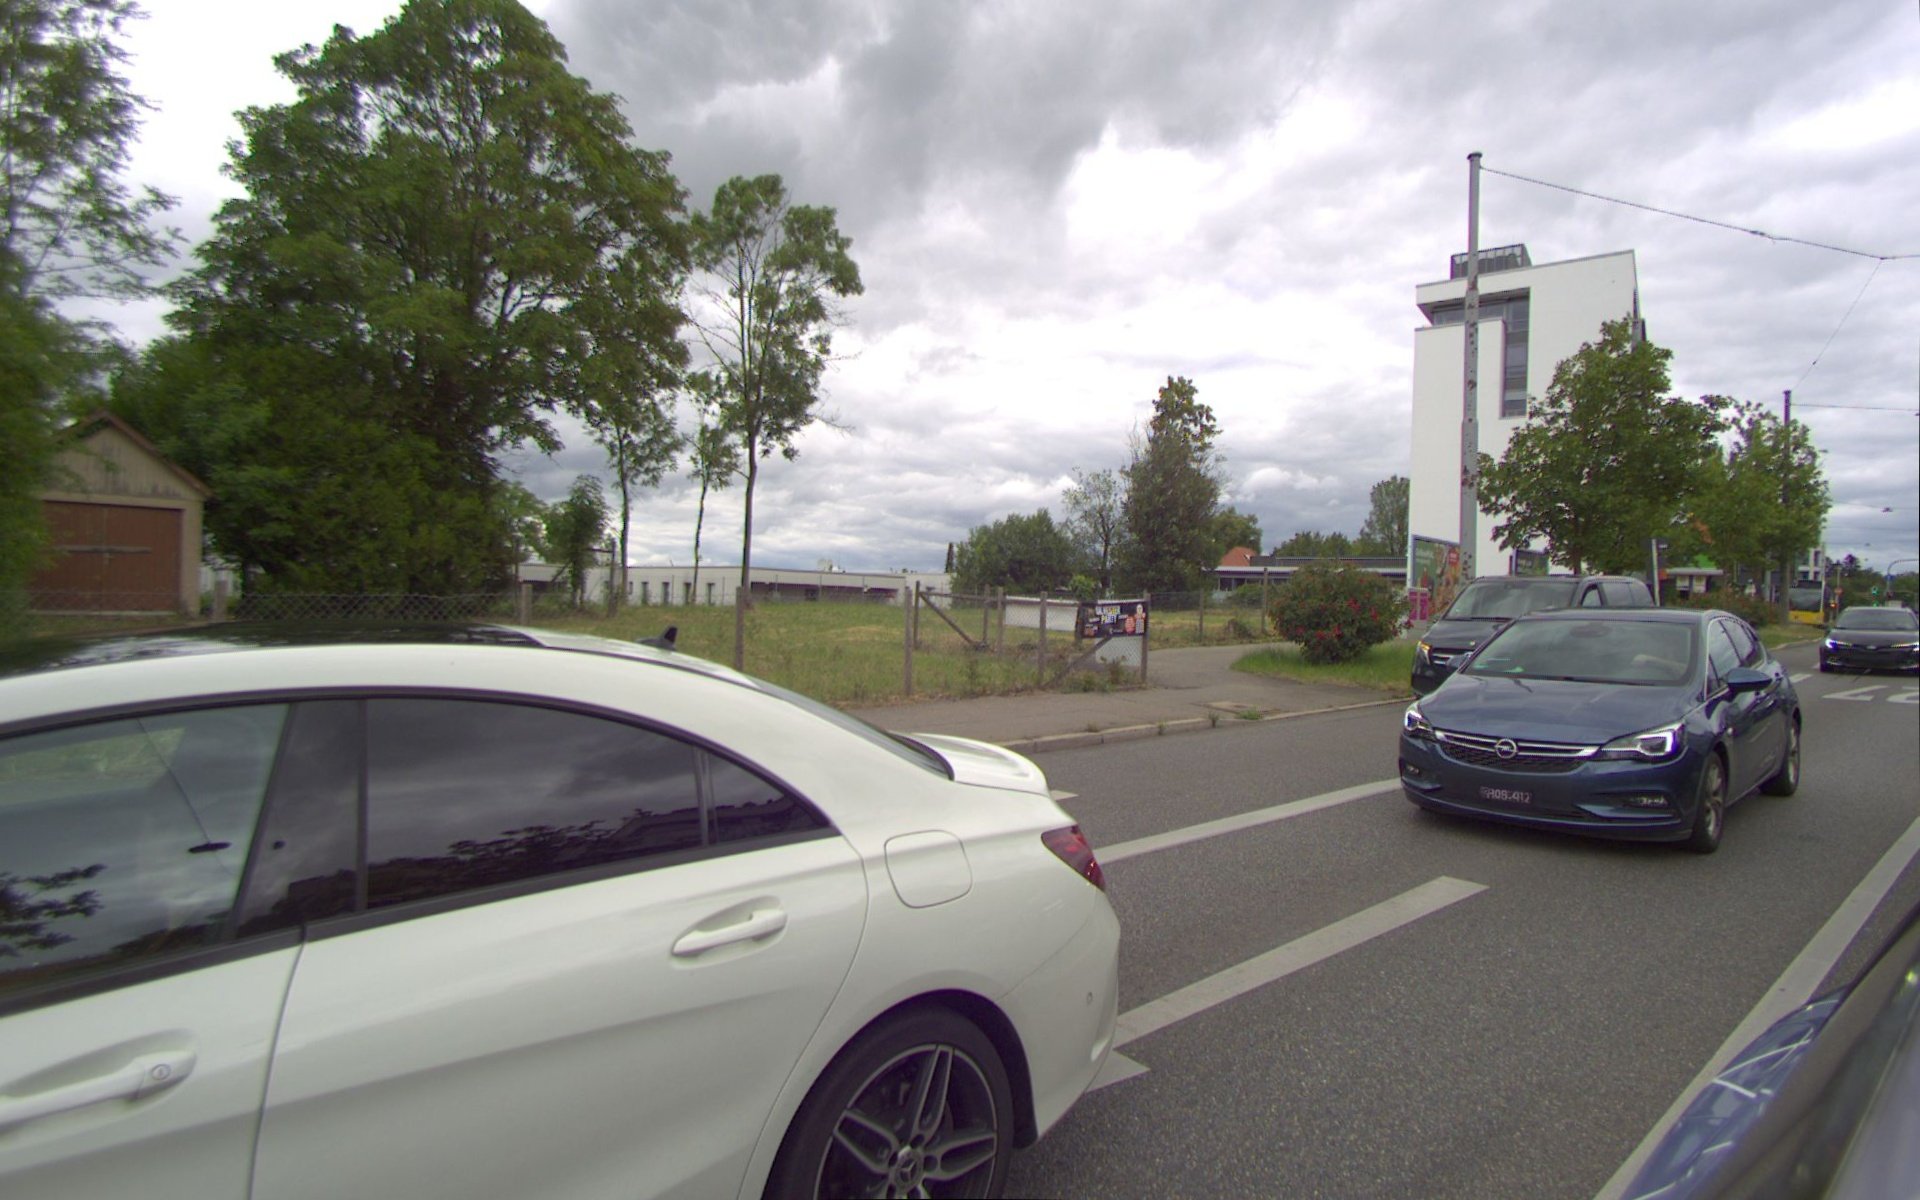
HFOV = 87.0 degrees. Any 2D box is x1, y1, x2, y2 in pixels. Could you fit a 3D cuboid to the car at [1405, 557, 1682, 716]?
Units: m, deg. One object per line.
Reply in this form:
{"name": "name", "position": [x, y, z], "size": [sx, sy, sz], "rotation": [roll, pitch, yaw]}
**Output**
{"name": "car", "position": [8.262, 0.429, 14.160], "size": [4.627, 1.863, 1.952], "rotation": [0, -1, -41]}

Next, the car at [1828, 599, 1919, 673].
{"name": "car", "position": [20.464, 0.728, 22.176], "size": [3.853, 1.475, 1.663], "rotation": [0, 0, -41]}

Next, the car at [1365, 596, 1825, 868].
{"name": "car", "position": [4.743, 0.688, 7.336], "size": [3.931, 1.428, 1.825], "rotation": [0, 0, -42]}

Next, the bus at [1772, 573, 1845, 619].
{"name": "bus", "position": [53.945, -0.304, 64.580], "size": [2.952, 2.664, 11.986], "rotation": [0, 1, 37]}

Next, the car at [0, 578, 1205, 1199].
{"name": "car", "position": [-1.542, 0.697, 1.816], "size": [4.300, 1.451, 1.652], "rotation": [0, 1, -41]}

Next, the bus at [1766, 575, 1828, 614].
{"name": "bus", "position": [61.411, -0.438, 74.481], "size": [2.952, 2.664, 12.751], "rotation": [0, 1, 37]}
